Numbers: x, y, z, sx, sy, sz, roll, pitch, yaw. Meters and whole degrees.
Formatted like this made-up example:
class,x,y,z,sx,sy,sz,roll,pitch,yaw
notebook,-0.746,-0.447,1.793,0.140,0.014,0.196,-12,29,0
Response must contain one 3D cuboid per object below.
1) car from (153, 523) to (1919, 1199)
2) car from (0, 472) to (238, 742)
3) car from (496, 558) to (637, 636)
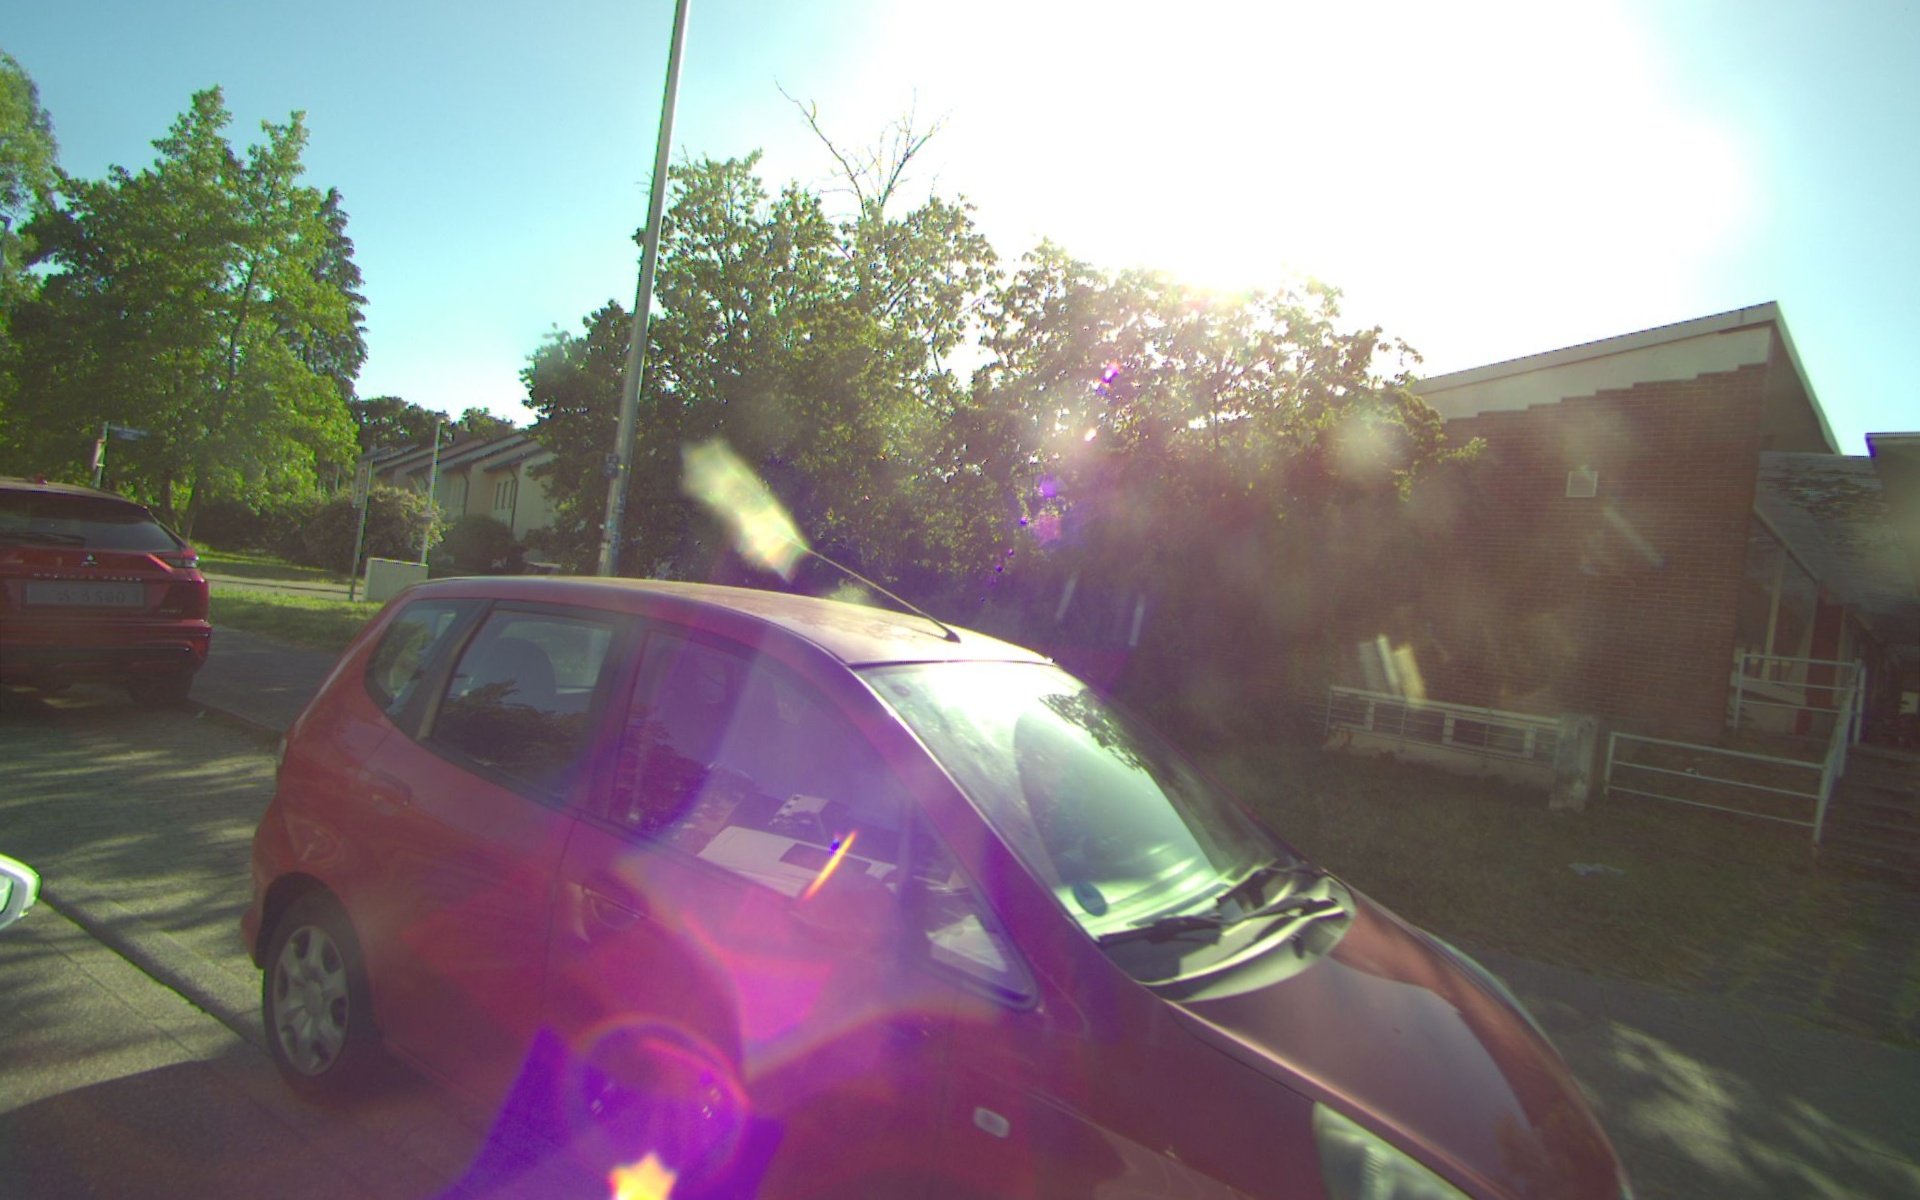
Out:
class,x,y,z,sx,sy,sz,roll,pitch,yaw
car,-0.322,0.762,2.814,3.933,1.492,1.693,7,0,31
car,-7.795,-0.170,7.785,4.565,1.702,1.776,7,2,29
car,-10.477,-0.059,26.863,1.678,1.583,2.948,11,2,44
